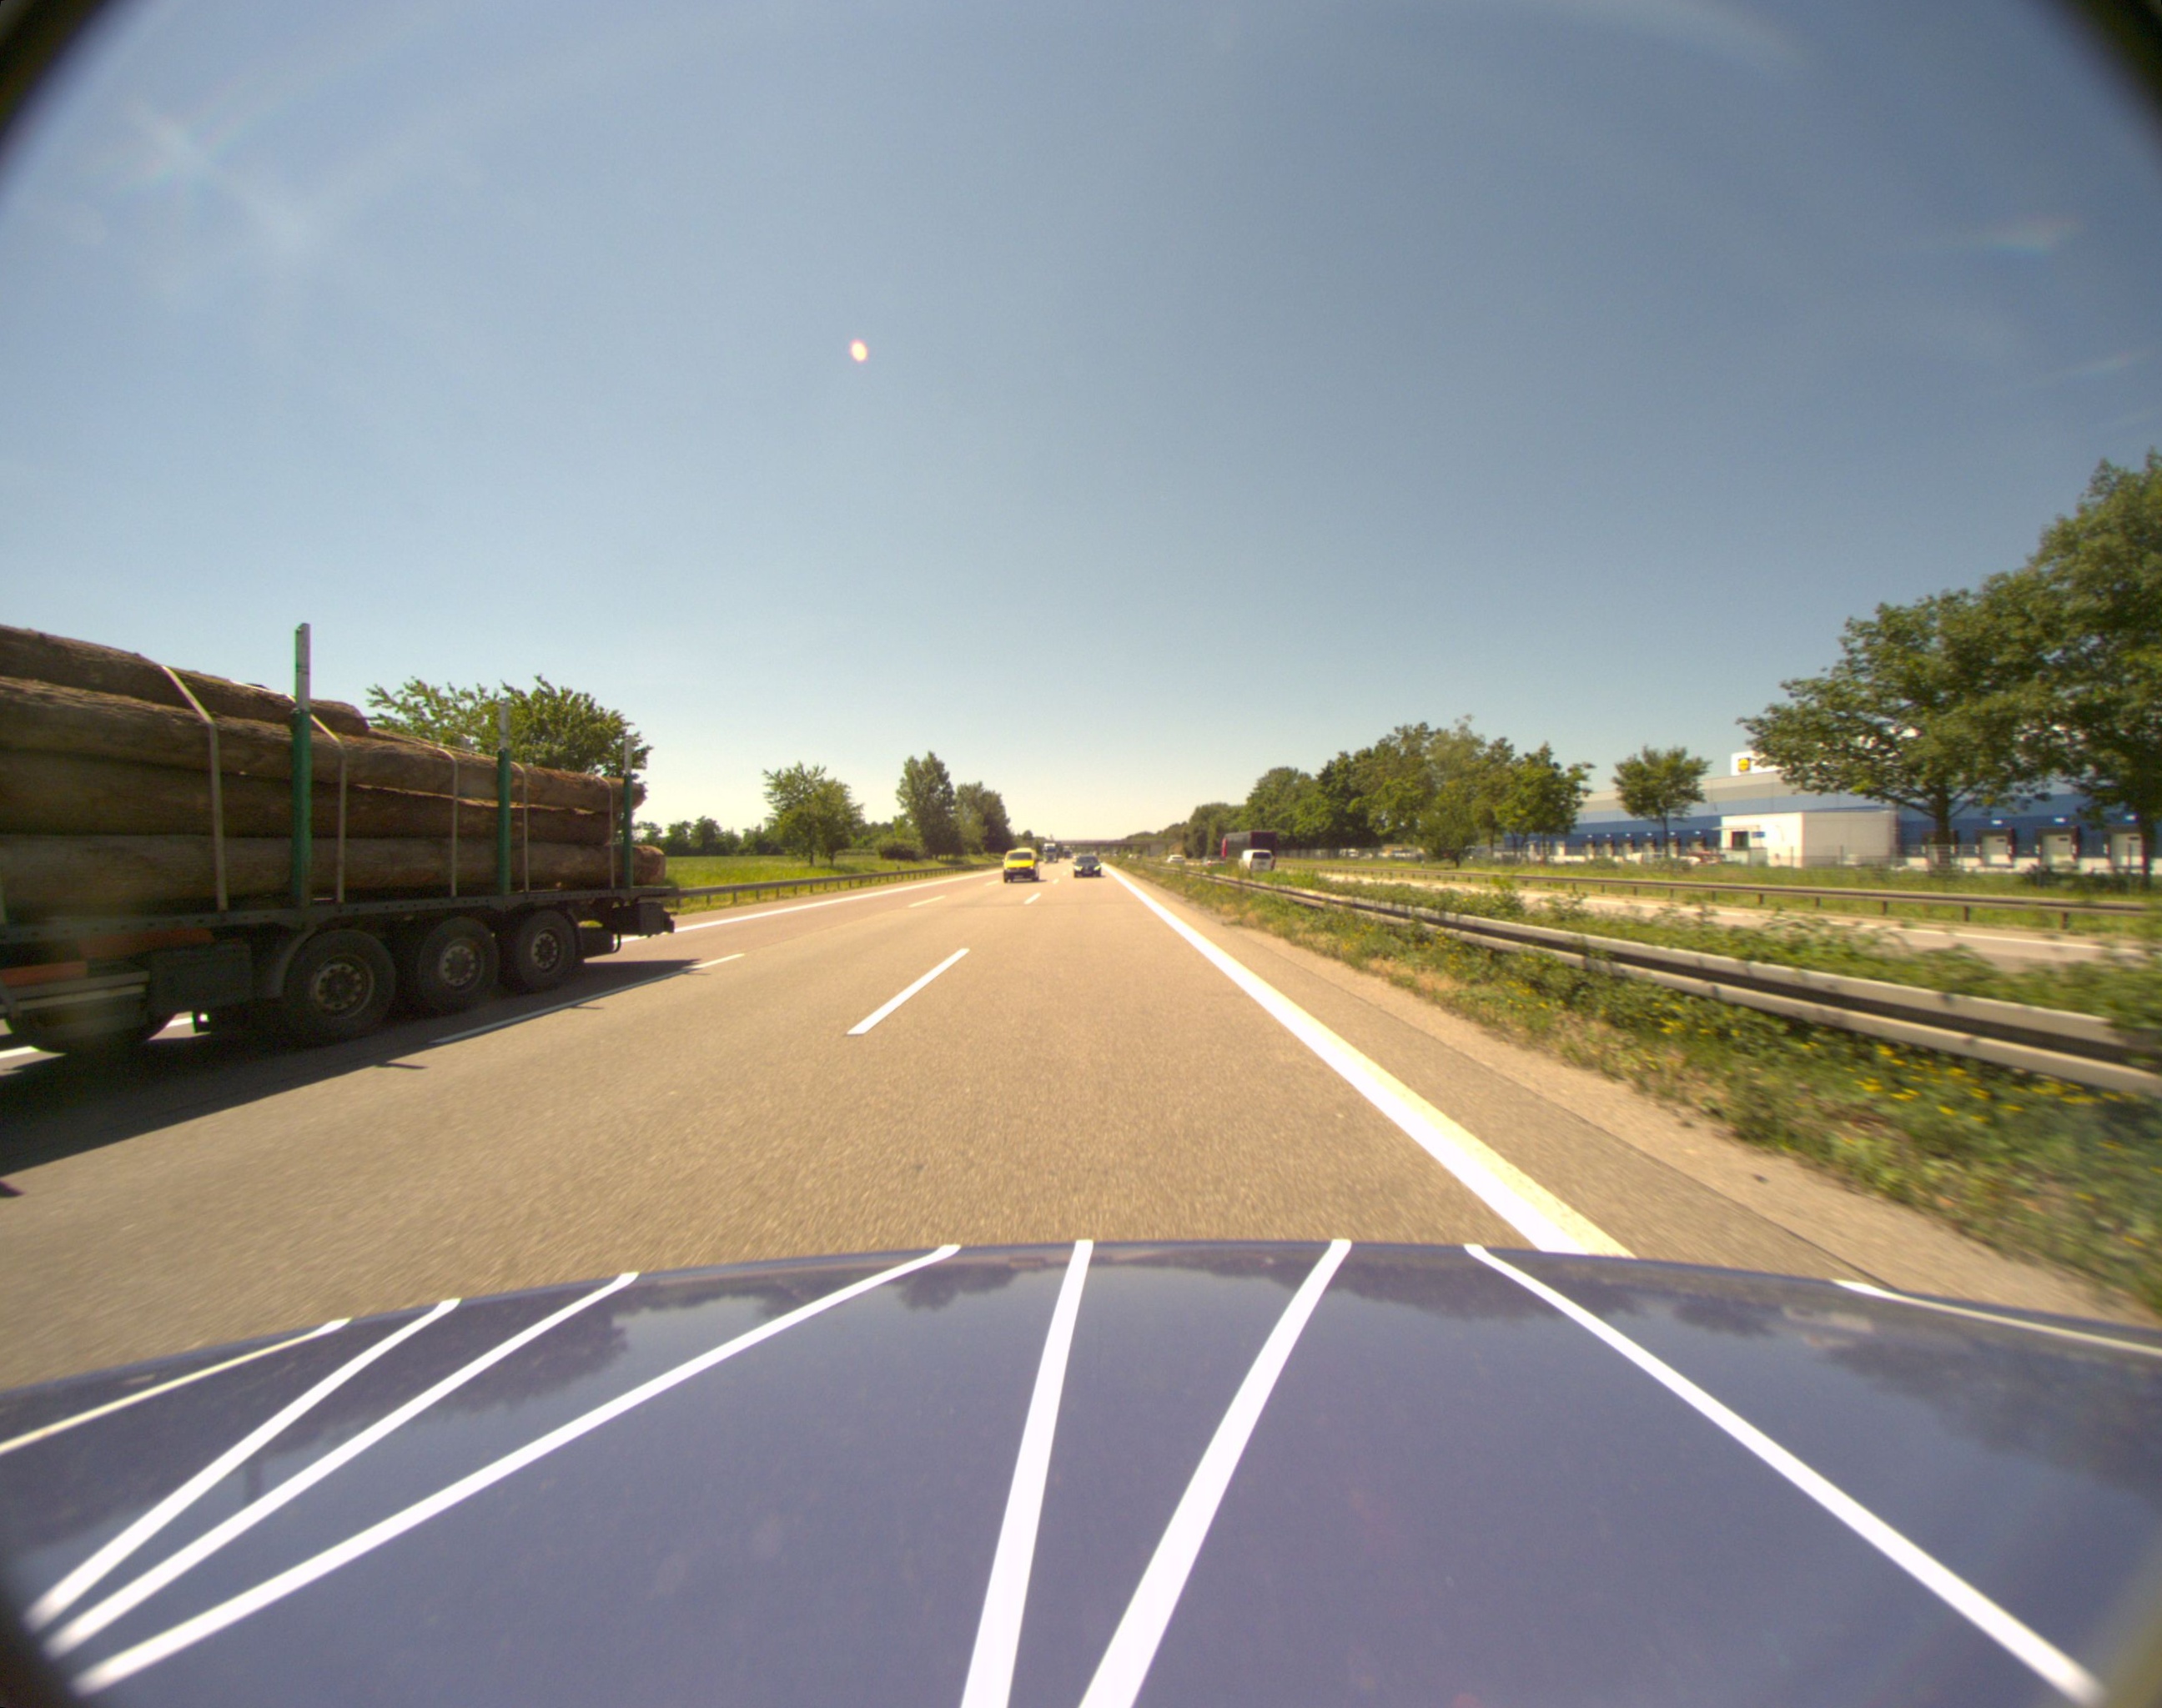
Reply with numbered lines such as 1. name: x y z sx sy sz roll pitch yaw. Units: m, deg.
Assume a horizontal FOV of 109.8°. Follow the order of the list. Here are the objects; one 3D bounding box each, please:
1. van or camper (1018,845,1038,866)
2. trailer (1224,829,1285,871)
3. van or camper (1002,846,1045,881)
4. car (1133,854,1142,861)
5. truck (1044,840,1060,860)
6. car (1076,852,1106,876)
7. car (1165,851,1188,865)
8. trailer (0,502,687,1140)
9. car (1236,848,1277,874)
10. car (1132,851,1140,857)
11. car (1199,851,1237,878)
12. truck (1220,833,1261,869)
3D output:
1. van or camper: -7.053 0.207 101.963 2.119 2.687 6.367 -2 0 0
2. trailer: 18.379 -0.407 81.568 3.456 3.988 14.203 1 0 1
3. van or camper: -3.458 0.550 46.910 2.063 1.992 5.884 -1 0 1
4. car: 13.961 0.934 187.989 1.850 1.672 4.814 1 0 1
5. truck: -5.971 -0.864 160.259 2.806 4.022 13.353 -3 0 0
6. car: 0.637 0.663 51.815 1.894 1.541 4.039 1 0 -1
7. car: 10.594 0.436 84.459 1.925 1.520 4.867 1 0 0
8. trailer: -7.977 -0.179 5.680 2.660 3.935 13.636 -2 0 1
9. car: 13.836 0.521 60.209 2.000 1.901 5.211 1 0 -1
10. car: 16.610 -0.058 229.785 1.999 1.630 4.858 3 0 0
11. car: 10.083 0.750 56.270 2.000 1.901 3.999 1 0 -1
12. truck: 18.470 -0.365 88.325 3.448 3.908 6.221 1 0 1
